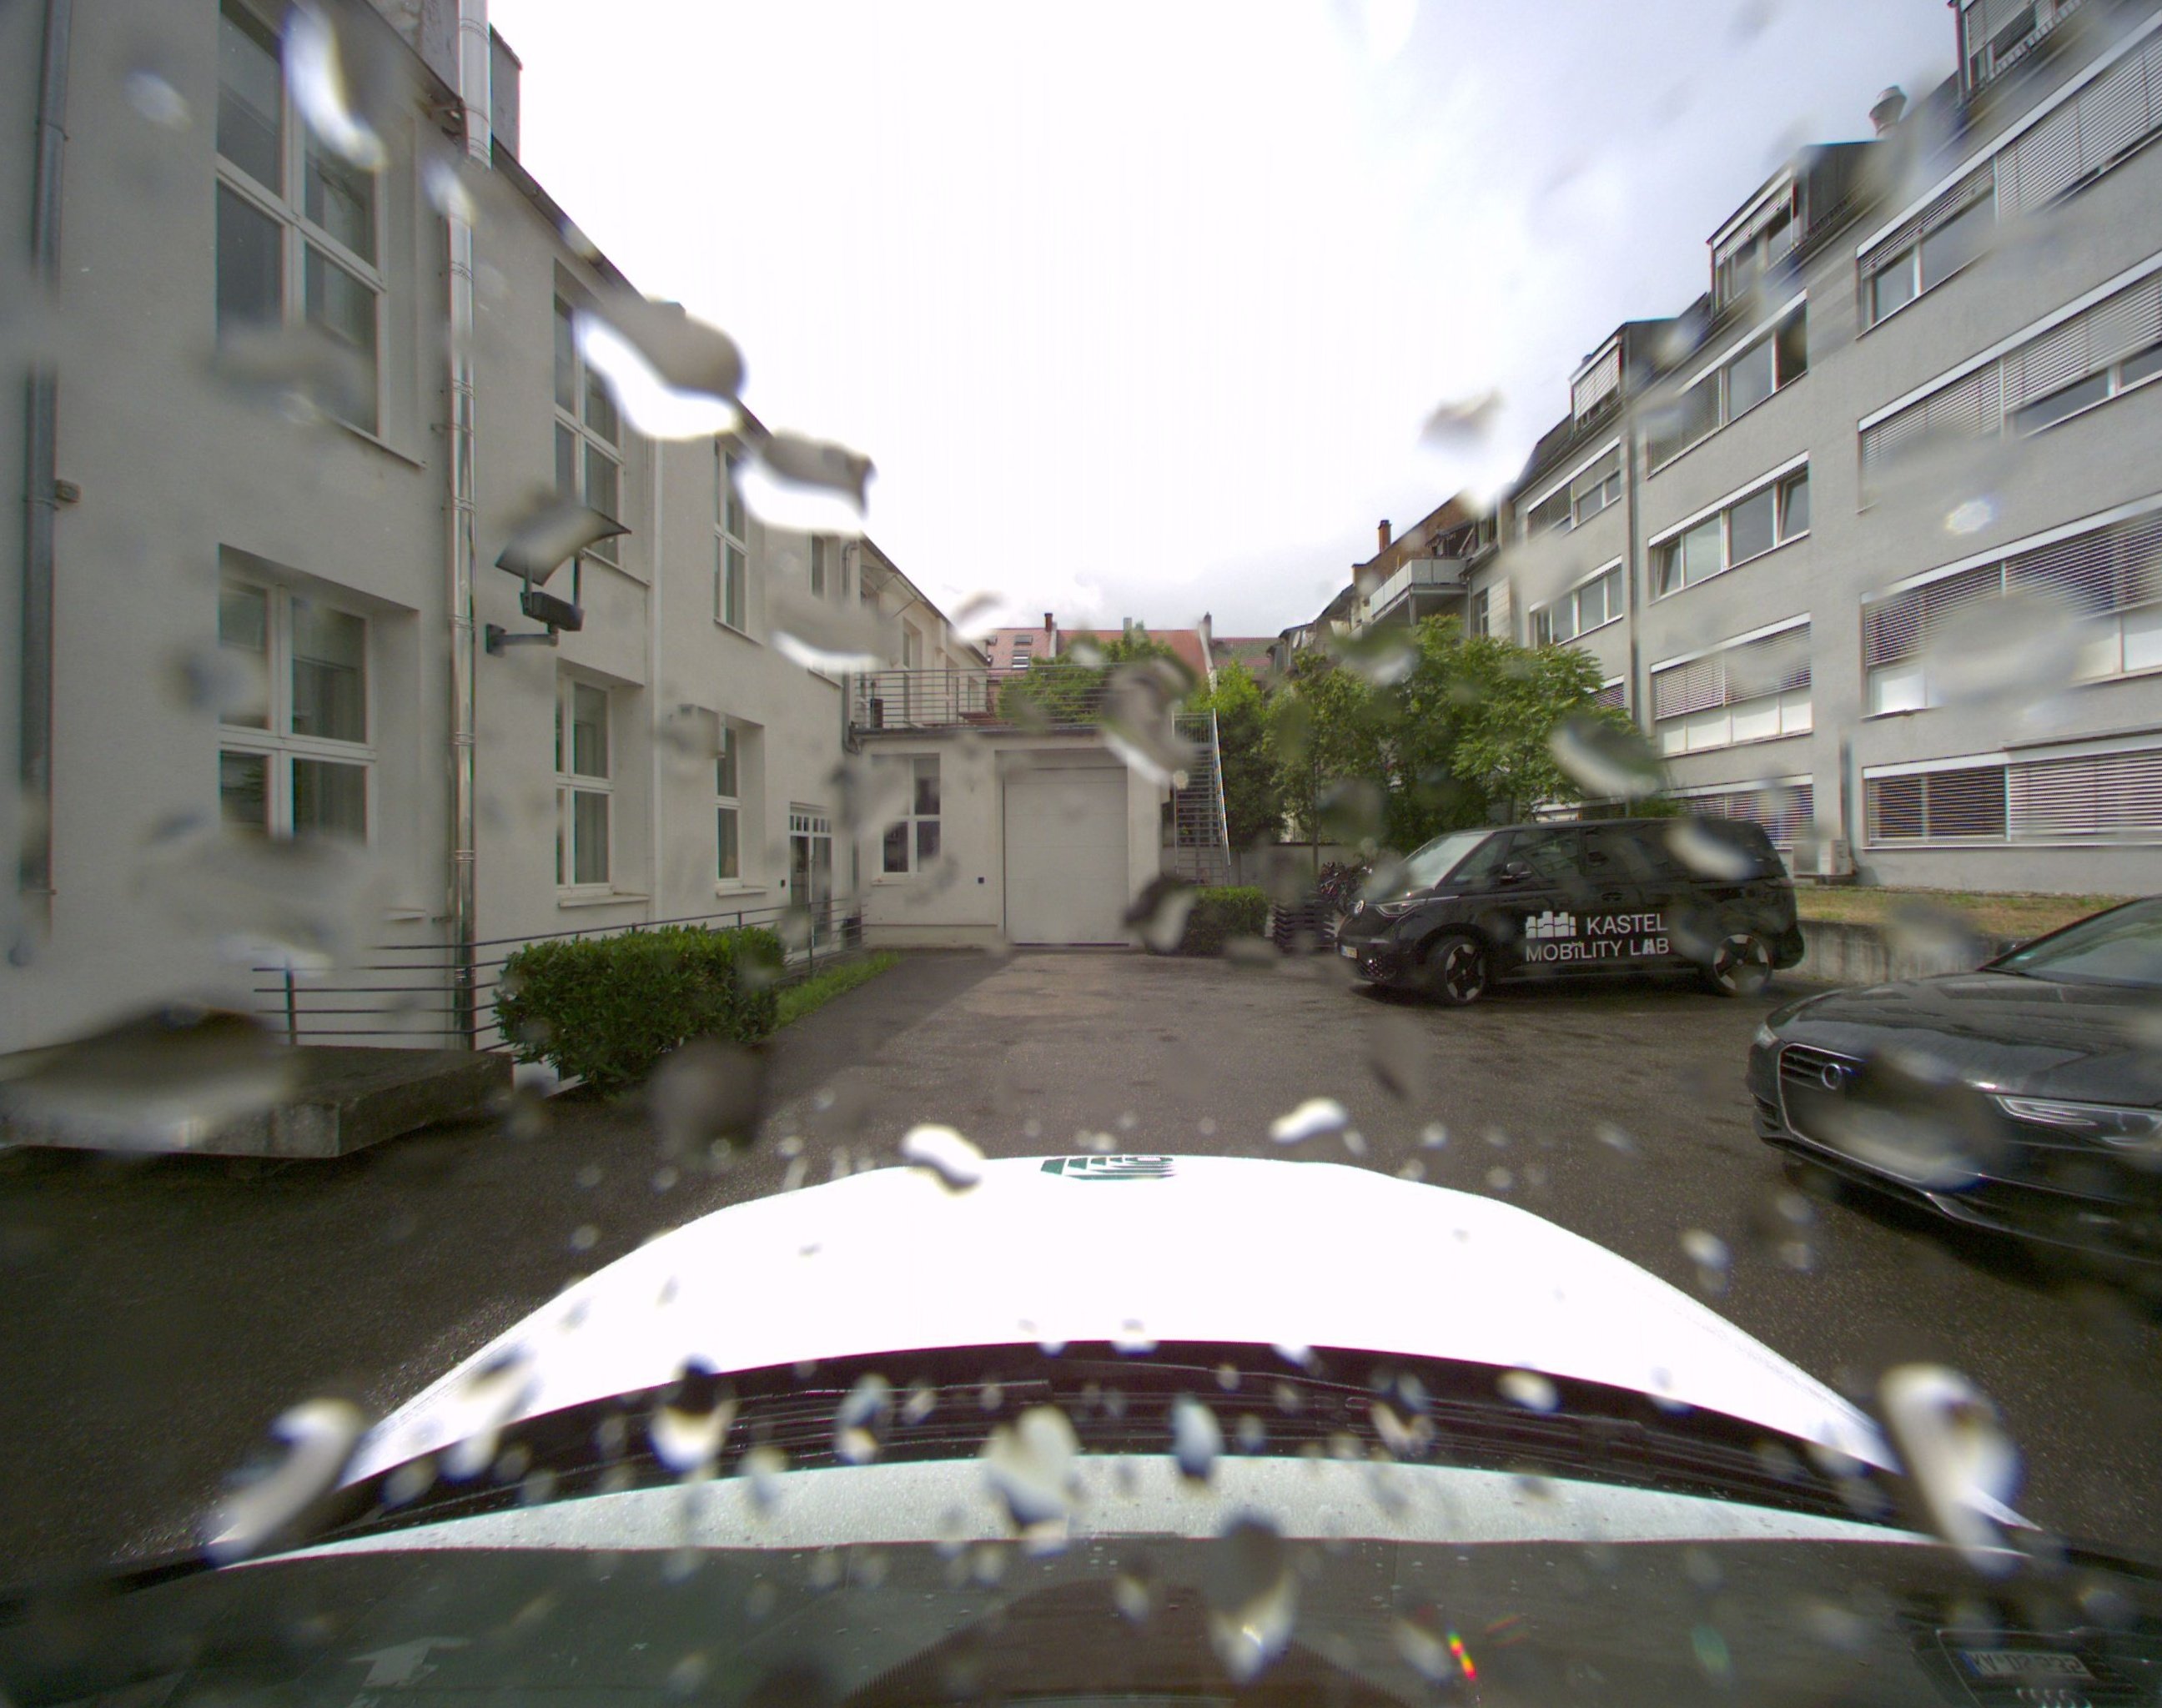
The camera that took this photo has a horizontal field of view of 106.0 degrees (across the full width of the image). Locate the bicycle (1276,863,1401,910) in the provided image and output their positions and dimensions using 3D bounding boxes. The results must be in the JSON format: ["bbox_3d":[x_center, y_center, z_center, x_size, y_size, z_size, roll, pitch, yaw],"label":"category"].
[{"bbox_3d":[6.268,0.791,19.943,2.831,1.078,0.690,1,1,3],"label":"bicycle"}]

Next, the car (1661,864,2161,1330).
[{"bbox_3d":[5.297,0.742,3.489,4.341,1.348,1.860,-1,0,-1],"label":"car"}]

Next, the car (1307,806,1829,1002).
[{"bbox_3d":[5.246,0.503,9.311,4.695,1.833,2.110,-2,0,-1],"label":"car"}]

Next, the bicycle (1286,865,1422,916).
[{"bbox_3d":[6.167,0.824,18.507,2.831,1.078,0.690,1,1,3],"label":"bicycle"}]

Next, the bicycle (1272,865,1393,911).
[{"bbox_3d":[6.302,0.836,20.496,2.831,1.078,0.690,1,1,3],"label":"bicycle"}]

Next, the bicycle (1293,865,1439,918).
[{"bbox_3d":[6.133,0.798,17.633,2.911,1.078,0.690,1,1,3],"label":"bicycle"}]

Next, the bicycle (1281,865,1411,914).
[{"bbox_3d":[6.221,0.831,19.229,2.831,1.078,0.690,1,1,3],"label":"bicycle"}]
